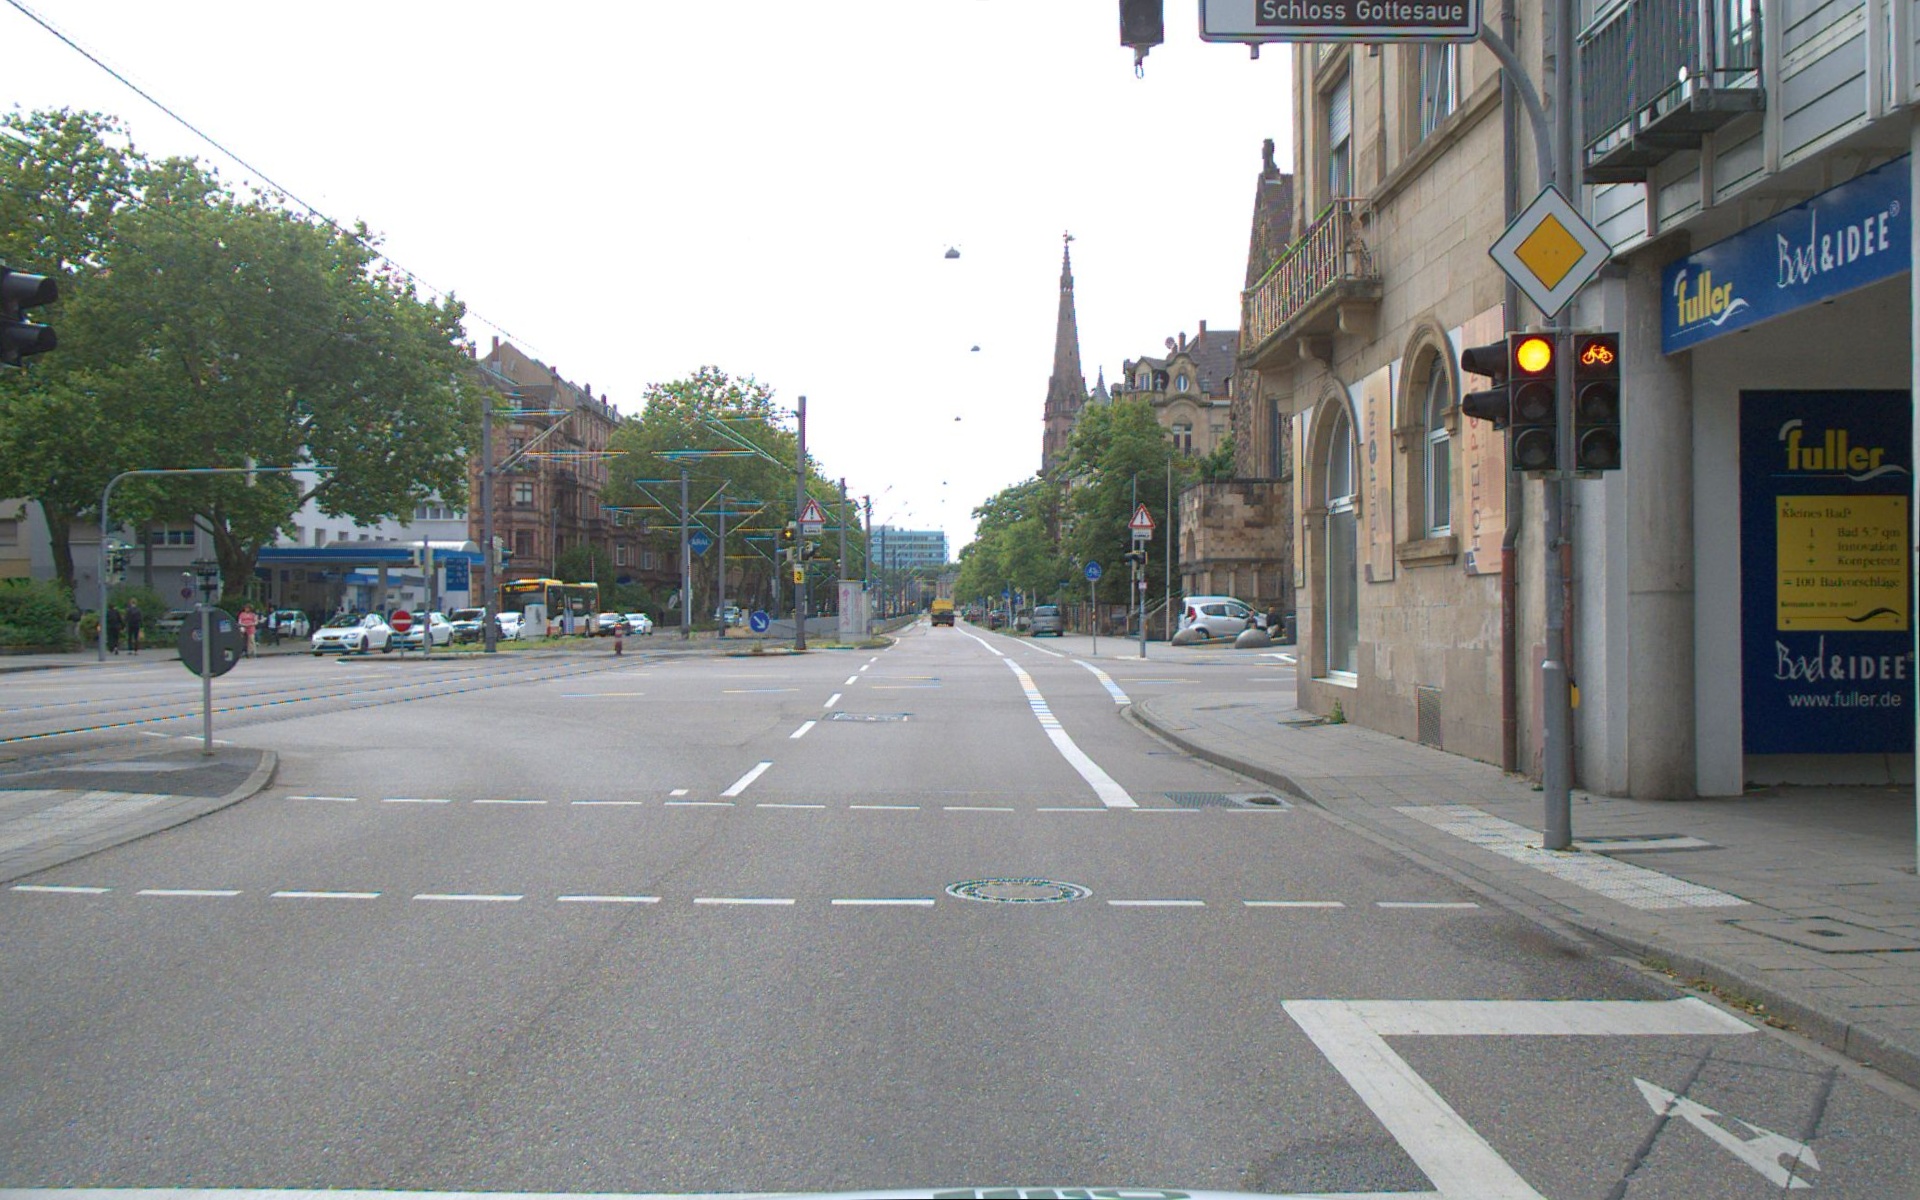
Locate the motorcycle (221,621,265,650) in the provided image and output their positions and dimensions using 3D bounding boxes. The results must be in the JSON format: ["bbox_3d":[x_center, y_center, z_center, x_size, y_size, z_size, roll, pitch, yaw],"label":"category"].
[{"bbox_3d":[-23.694,1.164,54.679,0.594,0.945,1.951,0,0,0],"label":"motorcycle"}]

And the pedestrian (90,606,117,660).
[{"bbox_3d":[-28.132,1.082,54.321,0.678,1.743,0.865,0,0,-20],"label":"pedestrian"}]

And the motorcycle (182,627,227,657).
[{"bbox_3d":[-24.683,1.366,54.085,0.594,0.945,1.951,0,0,0],"label":"motorcycle"}]

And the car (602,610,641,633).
[{"bbox_3d":[-20.832,1.301,101.904,1.622,1.344,3.638,1,0,1],"label":"car"}]

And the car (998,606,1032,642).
[{"bbox_3d":[3.282,1.418,99.636,1.952,2.049,4.000,1,0,1],"label":"car"}]

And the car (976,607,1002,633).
[{"bbox_3d":[2.369,1.624,136.010,1.953,2.049,3.999,1,0,-1],"label":"car"}]

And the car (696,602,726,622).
[{"bbox_3d":[-21.231,1.018,141.189,1.953,1.639,3.999,1,0,-1],"label":"car"}]

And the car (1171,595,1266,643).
[{"bbox_3d":[10.686,0.794,68.565,3.638,1.888,2.000,1,0,-1],"label":"car"}]

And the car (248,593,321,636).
[{"bbox_3d":[-32.922,0.699,80.721,1.953,2.049,3.999,0,0,-1],"label":"car"}]

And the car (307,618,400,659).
[{"bbox_3d":[-21.440,1.327,58.601,1.711,1.344,4.075,1,0,1],"label":"car"}]

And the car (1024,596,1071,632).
[{"bbox_3d":[4.810,0.769,90.056,1.951,1.888,4.030,1,0,12],"label":"car"}]

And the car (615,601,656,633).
[{"bbox_3d":[-21.417,1.128,109.266,1.953,2.049,3.999,1,0,-1],"label":"car"}]

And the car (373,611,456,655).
[{"bbox_3d":[-21.428,1.283,65.135,1.953,1.622,3.999,1,0,-1],"label":"car"}]

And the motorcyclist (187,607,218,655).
[{"bbox_3d":[-24.681,0.989,53.915,0.607,1.546,0.873,0,0,-1],"label":"motorcyclist"}]

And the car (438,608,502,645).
[{"bbox_3d":[-21.228,1.135,71.789,1.622,1.504,3.638,1,0,1],"label":"car"}]

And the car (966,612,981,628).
[{"bbox_3d":[1.755,2.656,216.832,1.953,2.049,3.999,1,0,-1],"label":"car"}]

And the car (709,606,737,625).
[{"bbox_3d":[-21.347,1.375,148.998,1.953,1.639,3.999,1,0,-1],"label":"car"}]

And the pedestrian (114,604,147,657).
[{"bbox_3d":[-27.423,0.994,54.668,0.860,1.743,0.869,0,0,-20],"label":"pedestrian"}]

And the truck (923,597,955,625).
[{"bbox_3d":[-2.129,1.110,171.379,2.992,2.817,9.816,0,0,1],"label":"truck"}]

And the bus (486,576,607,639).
[{"bbox_3d":[-21.972,0.413,88.761,3.164,3.088,12.312,1,0,1],"label":"bus"}]

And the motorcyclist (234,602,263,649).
[{"bbox_3d":[-23.663,0.854,55.014,0.607,1.546,0.873,0,0,-1],"label":"motorcyclist"}]

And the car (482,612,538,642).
[{"bbox_3d":[-21.385,1.280,78.707,1.622,1.344,3.638,1,0,1],"label":"car"}]

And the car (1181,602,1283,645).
[{"bbox_3d":[10.670,0.925,65.052,3.638,1.591,2.000,1,0,-1],"label":"car"}]
